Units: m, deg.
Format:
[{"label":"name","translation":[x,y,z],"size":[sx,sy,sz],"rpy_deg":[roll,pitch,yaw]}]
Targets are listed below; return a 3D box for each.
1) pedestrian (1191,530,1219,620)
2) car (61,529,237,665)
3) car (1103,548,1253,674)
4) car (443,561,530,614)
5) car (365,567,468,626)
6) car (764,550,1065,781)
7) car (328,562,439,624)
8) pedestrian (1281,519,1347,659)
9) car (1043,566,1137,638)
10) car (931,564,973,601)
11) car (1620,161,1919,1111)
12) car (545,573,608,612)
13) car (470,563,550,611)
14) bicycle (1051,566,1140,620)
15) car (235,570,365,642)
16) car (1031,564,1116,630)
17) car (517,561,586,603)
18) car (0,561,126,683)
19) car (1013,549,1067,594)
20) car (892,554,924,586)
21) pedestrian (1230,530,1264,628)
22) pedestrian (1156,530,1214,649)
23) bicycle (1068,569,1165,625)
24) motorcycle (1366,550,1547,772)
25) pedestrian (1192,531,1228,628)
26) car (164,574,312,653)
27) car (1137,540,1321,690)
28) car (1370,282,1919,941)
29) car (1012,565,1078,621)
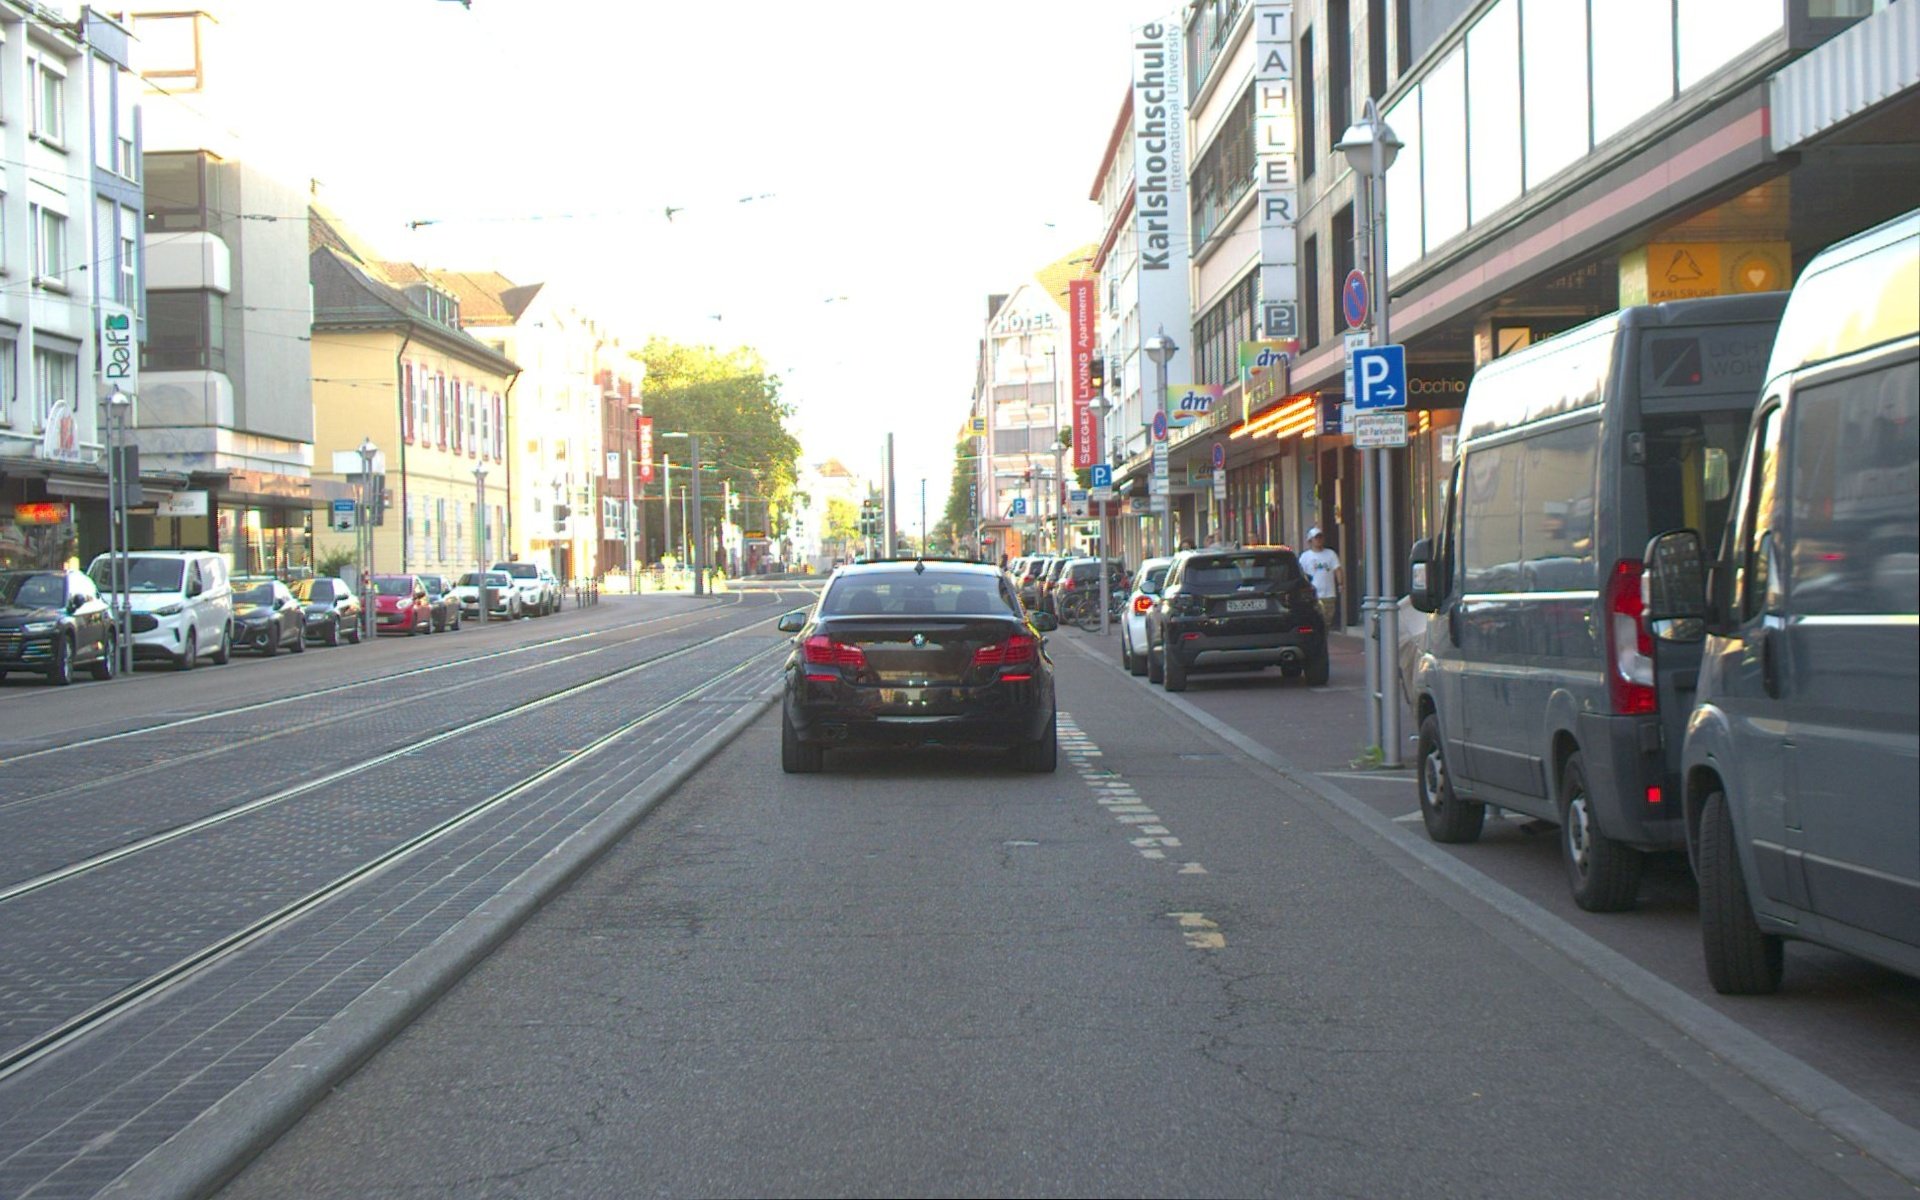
[{"label":"pedestrian","translation":[4.688,-0.479,65.786],"size":[0.475,1.693,0.752],"rpy_deg":[-2,1,3]},{"label":"car","translation":[-13.550,-0.082,57.742],"size":[1.993,2.149,4.911],"rpy_deg":[-1,1,-3]},{"label":"car","translation":[2.726,0.110,43.631],"size":[1.559,1.437,3.709],"rpy_deg":[-3,1,-1]},{"label":"car","translation":[-13.800,-0.380,100.442],"size":[1.928,1.430,4.246],"rpy_deg":[-2,1,0]},{"label":"car","translation":[-13.730,-0.103,87.032],"size":[1.928,1.430,4.246],"rpy_deg":[0,1,0]},{"label":"car","translation":[-0.255,0.413,24.827],"size":[1.953,1.493,4.465],"rpy_deg":[-1,0,1]},{"label":"car","translation":[-13.720,-0.185,82.025],"size":[1.928,1.430,4.246],"rpy_deg":[0,1,0]},{"label":"pedestrian","translation":[4.522,-0.142,43.921],"size":[0.689,1.734,0.820],"rpy_deg":[-3,1,1]},{"label":"car","translation":[2.855,0.045,76.459],"size":[1.903,1.543,4.000],"rpy_deg":[-1,0,0]},{"label":"car","translation":[-0.340,-0.752,147.103],"size":[1.774,1.543,3.503],"rpy_deg":[-1,0,0]},{"label":"car","translation":[3.501,0.065,9.377],"size":[2.092,2.447,6.032],"rpy_deg":[-2,1,-1]},{"label":"car","translation":[-14.413,-0.289,129.364],"size":[1.928,1.430,4.246],"rpy_deg":[0,1,0]},{"label":"car","translation":[-13.931,-0.426,106.651],"size":[1.928,1.430,4.246],"rpy_deg":[0,1,0]},{"label":"bicycle","translation":[2.881,-0.142,73.107],"size":[1.861,1.115,0.468],"rpy_deg":[-1,-1,1]},{"label":"car","translation":[-13.785,0.099,72.016],"size":[1.928,1.430,4.246],"rpy_deg":[0,1,0]},{"label":"car","translation":[2.728,-0.061,83.267],"size":[1.903,1.543,3.780],"rpy_deg":[-1,0,0]},{"label":"car","translation":[-14.338,-0.646,120.791],"size":[1.928,1.430,4.246],"rpy_deg":[0,1,0]},{"label":"car","translation":[-13.620,0.282,50.083],"size":[1.860,1.672,4.464],"rpy_deg":[0,1,0]},{"label":"car","translation":[2.773,-0.975,119.605],"size":[1.774,1.543,3.503],"rpy_deg":[-1,0,0]},{"label":"car","translation":[-3.358,-1.921,222.011],"size":[1.993,1.832,3.999],"rpy_deg":[-1,-2,0]},{"label":"pedestrian","translation":[5.288,-0.391,63.401],"size":[0.508,1.786,0.760],"rpy_deg":[-2,1,0]},{"label":"pedestrian","translation":[3.174,-0.147,48.473],"size":[0.556,1.641,0.760],"rpy_deg":[-2,1,-16]},{"label":"bicycle","translation":[3.061,-0.055,67.325],"size":[1.861,1.076,0.468],"rpy_deg":[-1,-1,1]},{"label":"motorcycle","translation":[3.402,0.393,23.738],"size":[0.844,1.414,2.165],"rpy_deg":[-4,1,0]},{"label":"pedestrian","translation":[4.638,-0.384,63.749],"size":[0.554,1.785,0.760],"rpy_deg":[-2,1,0]},{"label":"car","translation":[-13.672,0.229,65.322],"size":[1.928,1.430,4.246],"rpy_deg":[0,1,0]},{"label":"car","translation":[2.954,0.131,38.361],"size":[1.654,1.532,3.886],"rpy_deg":[-2,1,-1]},{"label":"car","translation":[3.363,-0.013,15.819],"size":[2.033,2.447,5.410],"rpy_deg":[-3,1,-2]},{"label":"car","translation":[2.402,-0.196,98.107],"size":[1.774,1.543,3.503],"rpy_deg":[-1,0,0]}]
